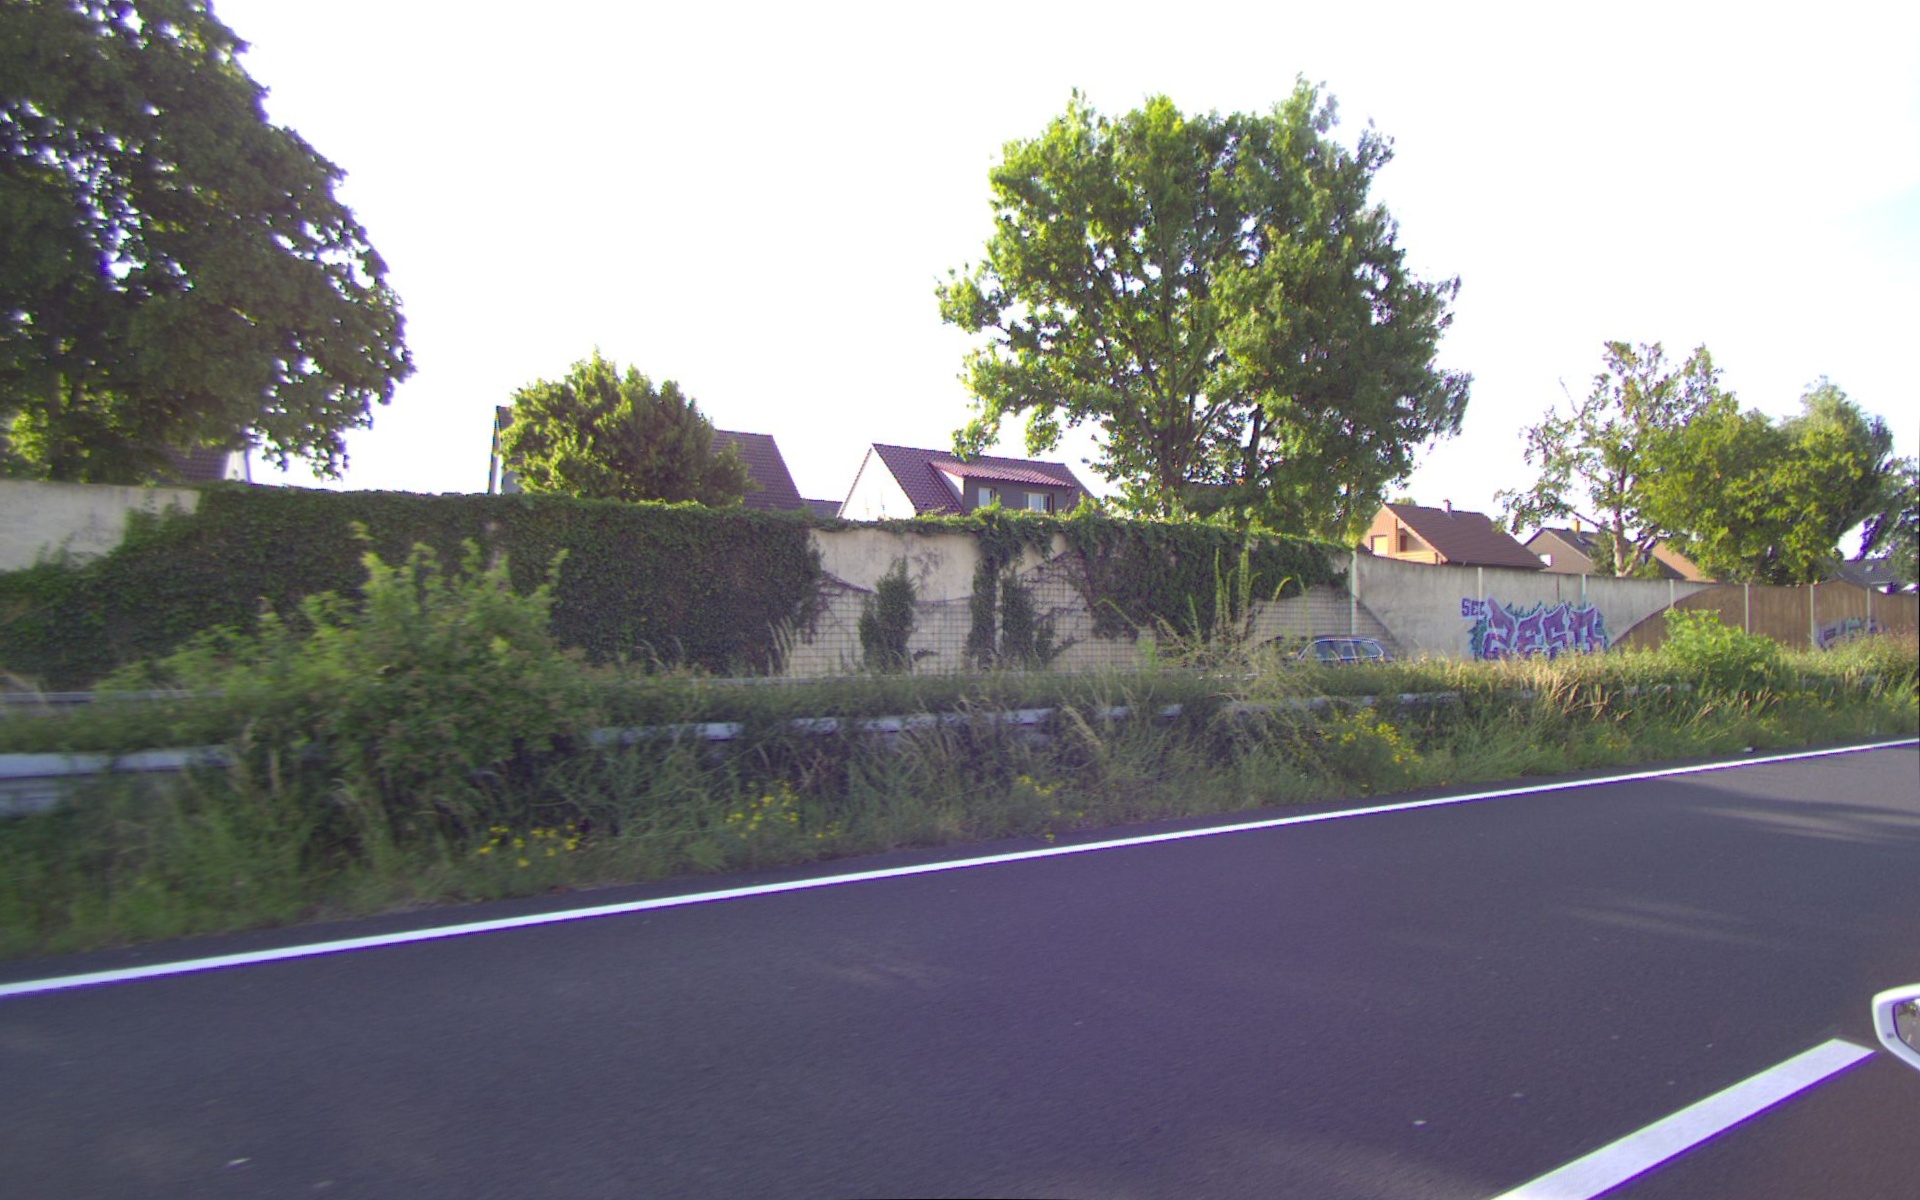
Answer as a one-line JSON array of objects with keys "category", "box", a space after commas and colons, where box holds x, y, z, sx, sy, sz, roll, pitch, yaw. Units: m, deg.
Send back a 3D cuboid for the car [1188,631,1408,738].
[{"category": "car", "box": [6.826, 1.616, 20.173, 4.316, 1.880, 1.825, 2, 0, -31]}]
